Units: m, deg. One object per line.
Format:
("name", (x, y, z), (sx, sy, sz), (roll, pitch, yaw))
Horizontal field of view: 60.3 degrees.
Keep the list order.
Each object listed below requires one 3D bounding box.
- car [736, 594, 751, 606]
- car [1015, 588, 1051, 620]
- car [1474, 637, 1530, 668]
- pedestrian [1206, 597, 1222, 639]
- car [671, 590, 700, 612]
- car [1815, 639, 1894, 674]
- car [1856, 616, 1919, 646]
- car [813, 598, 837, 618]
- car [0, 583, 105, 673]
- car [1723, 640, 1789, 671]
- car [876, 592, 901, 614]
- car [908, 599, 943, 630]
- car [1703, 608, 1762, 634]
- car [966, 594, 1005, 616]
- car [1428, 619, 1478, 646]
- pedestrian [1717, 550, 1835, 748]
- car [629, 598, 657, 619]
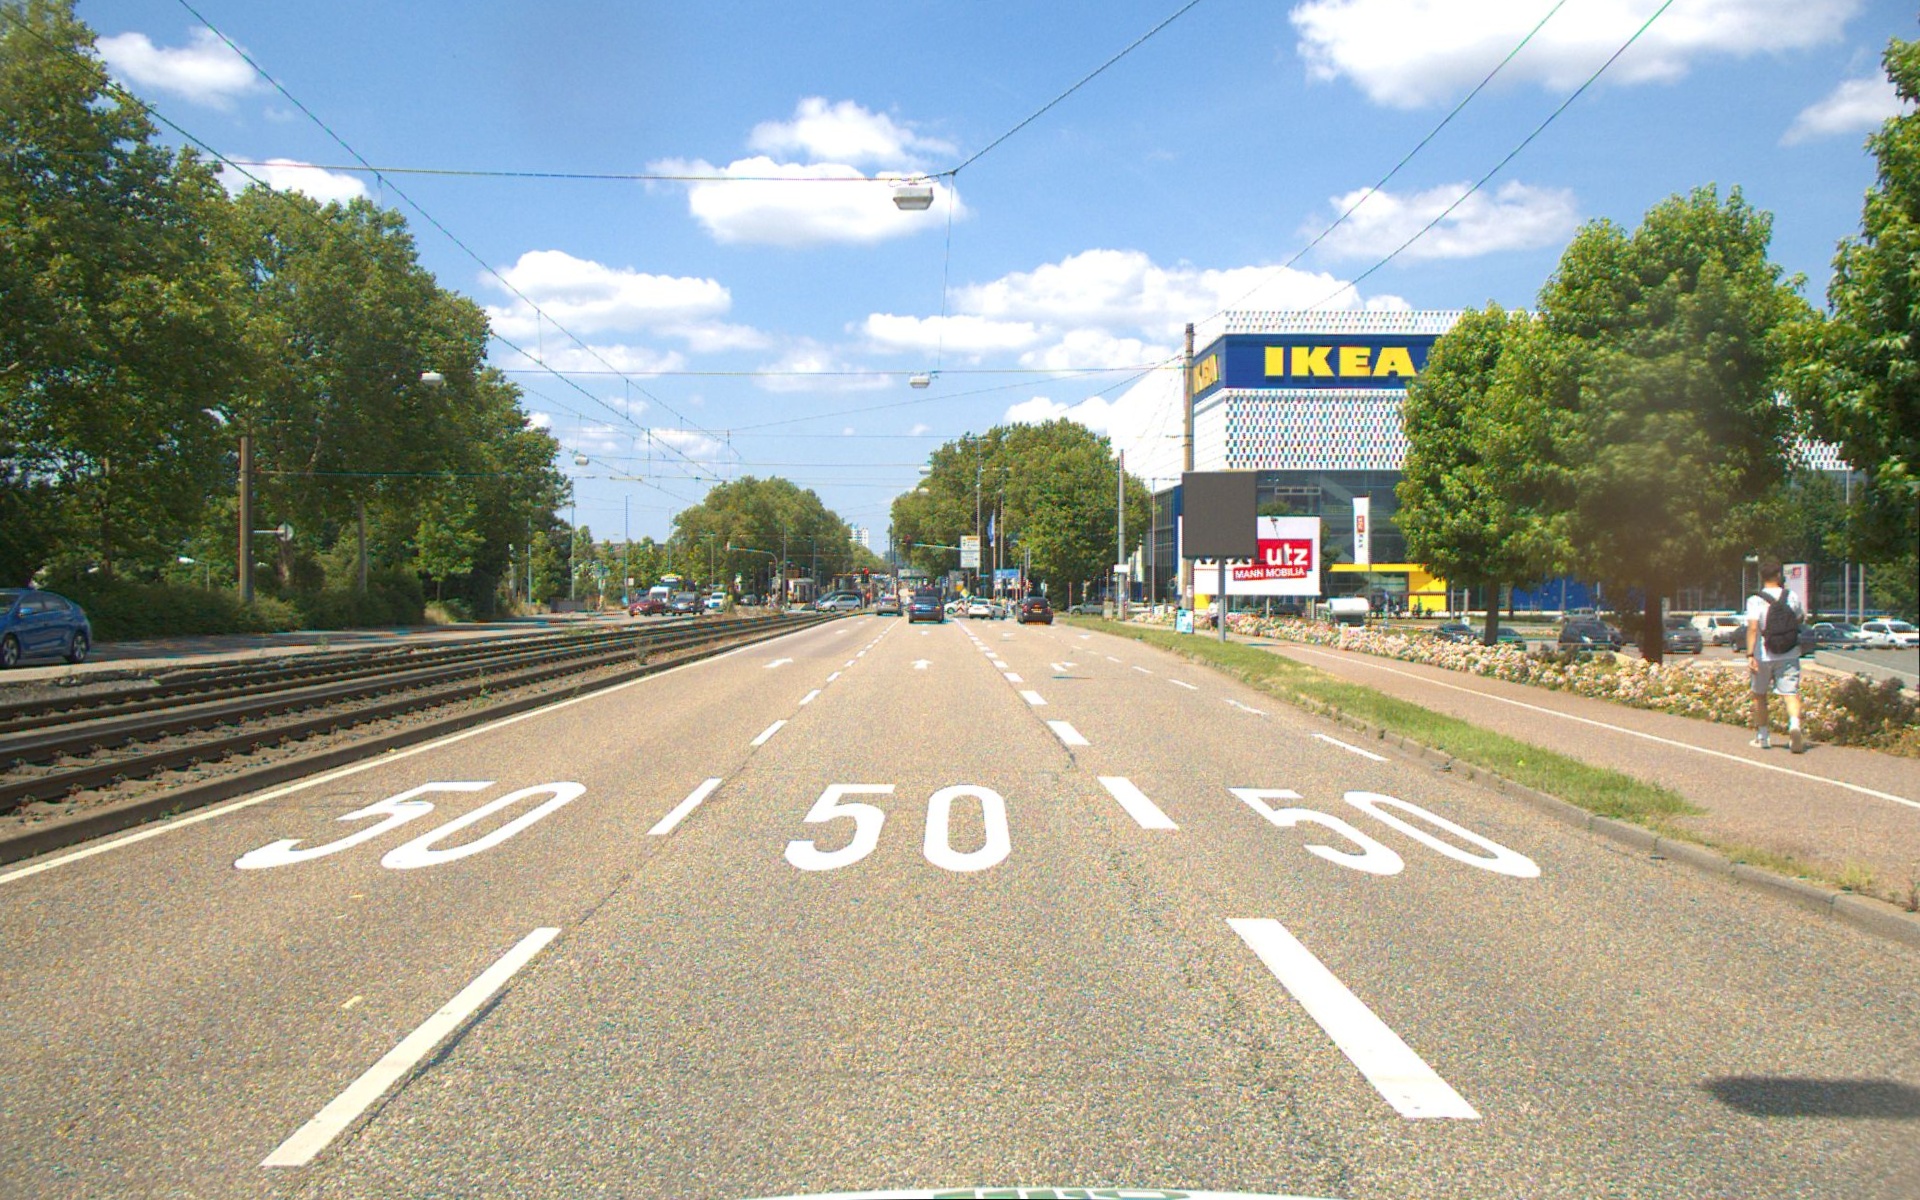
("car", (-30.117, -0.030, 230.228), (1.591, 1.577, 3.702), (2, 0, -2))
("car", (4.303, 0.213, 97.652), (1.861, 1.837, 3.976), (2, 0, -1))
("car", (29.532, 2.854, 90.211), (1.540, 1.508, 3.886), (2, 0, -3))
("pedestrian", (11.187, 0.807, 72.800), (0.568, 1.823, 0.589), (1, 0, -4))
("car", (-20.631, 0.097, 124.474), (1.590, 1.577, 3.983), (2, 0, -2))
("car", (43.387, 2.739, 80.293), (1.540, 1.508, 3.886), (2, 0, -3))
("car", (51.154, 1.702, 90.882), (1.540, 1.508, 3.886), (2, 0, -3))
("car", (-11.408, 0.671, 140.072), (1.806, 1.577, 3.775), (2, 0, -3))
("car", (-17.956, 0.485, 31.196), (1.612, 1.577, 4.214), (1, 0, -3))
("car", (43.361, 2.988, 90.200), (1.540, 1.508, 3.886), (2, 0, -3))
("car", (-5.341, 0.227, 122.899), (1.806, 1.577, 3.775), (2, 0, -3))
("car", (-1.911, 0.769, 89.874), (1.838, 1.566, 3.775), (2, 0, -2))
("car", (50.054, 1.367, 107.189), (1.705, 1.567, 3.997), (2, 0, -4))
("car", (1.909, 0.360, 122.202), (1.650, 1.577, 3.984), (2, 0, 21))
("car", (31.374, 2.048, 105.384), (1.705, 1.567, 3.997), (2, 0, -4))
("pedestrian", (7.792, 0.455, 15.827), (0.655, 1.823, 0.924), (1, 0, 1))
("car", (-25.557, 0.665, 133.354), (1.590, 1.577, 3.983), (2, 0, -2))
